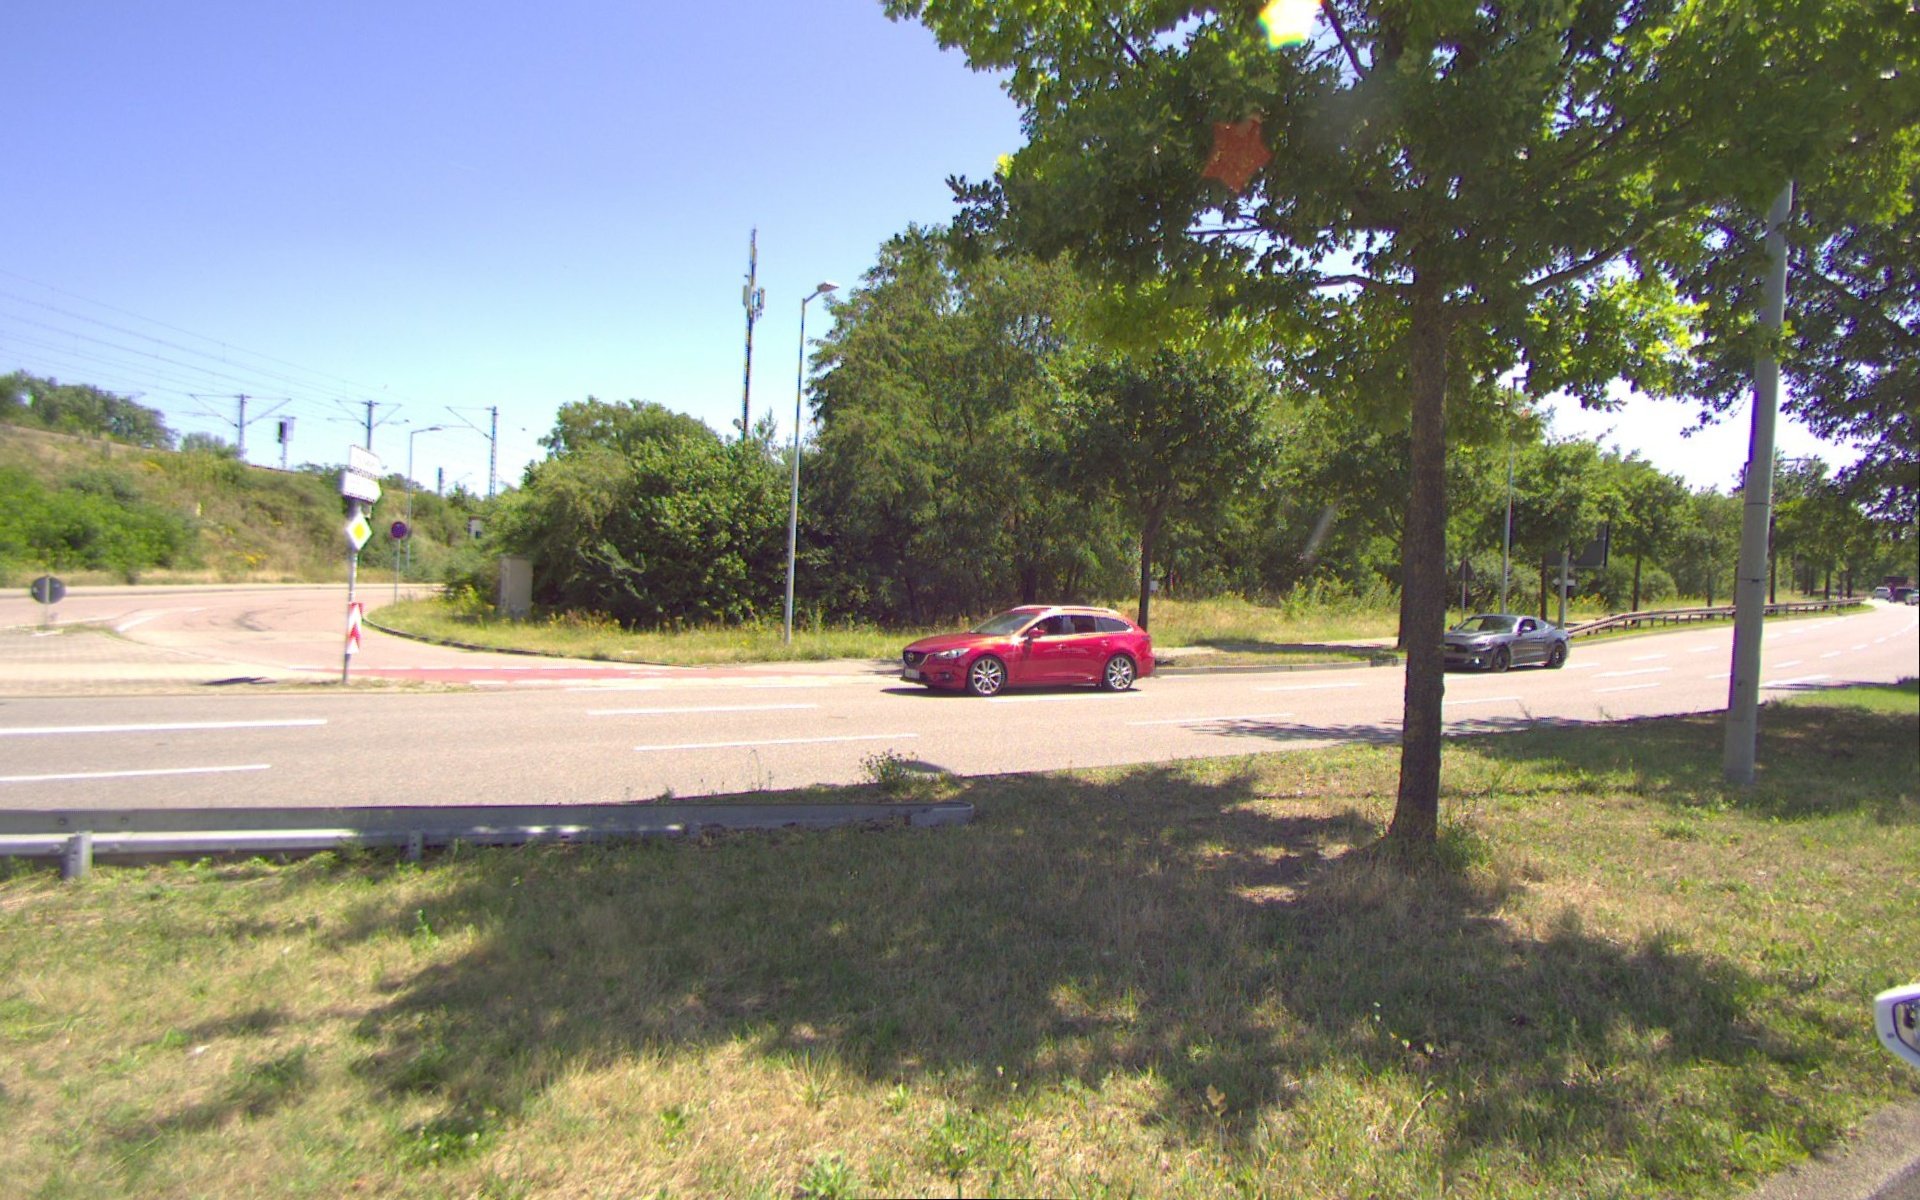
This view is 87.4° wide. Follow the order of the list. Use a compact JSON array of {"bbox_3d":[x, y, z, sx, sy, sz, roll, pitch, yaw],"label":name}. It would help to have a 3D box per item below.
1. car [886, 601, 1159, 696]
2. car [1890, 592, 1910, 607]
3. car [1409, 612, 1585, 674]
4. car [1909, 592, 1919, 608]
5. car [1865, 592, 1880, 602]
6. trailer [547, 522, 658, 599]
[{"bbox_3d":[1.137,0.819,17.306,4.475,1.456,1.821,2,-2,-32],"label":"car"},{"bbox_3d":[95.245,-0.037,101.796,1.402,1.331,3.318,2,0,43],"label":"car"},{"bbox_3d":[13.445,1.068,25.074,4.517,1.351,1.800,2,0,-31],"label":"car"},{"bbox_3d":[87.304,0.019,91.287,1.441,1.331,3.617,2,0,43],"label":"car"},{"bbox_3d":[110.750,-0.357,121.880,1.307,1.154,2.978,2,0,42],"label":"car"},{"bbox_3d":[-21.195,-2.179,60.615,2.963,4.104,12.696,1,1,-4],"label":"trailer"}]
